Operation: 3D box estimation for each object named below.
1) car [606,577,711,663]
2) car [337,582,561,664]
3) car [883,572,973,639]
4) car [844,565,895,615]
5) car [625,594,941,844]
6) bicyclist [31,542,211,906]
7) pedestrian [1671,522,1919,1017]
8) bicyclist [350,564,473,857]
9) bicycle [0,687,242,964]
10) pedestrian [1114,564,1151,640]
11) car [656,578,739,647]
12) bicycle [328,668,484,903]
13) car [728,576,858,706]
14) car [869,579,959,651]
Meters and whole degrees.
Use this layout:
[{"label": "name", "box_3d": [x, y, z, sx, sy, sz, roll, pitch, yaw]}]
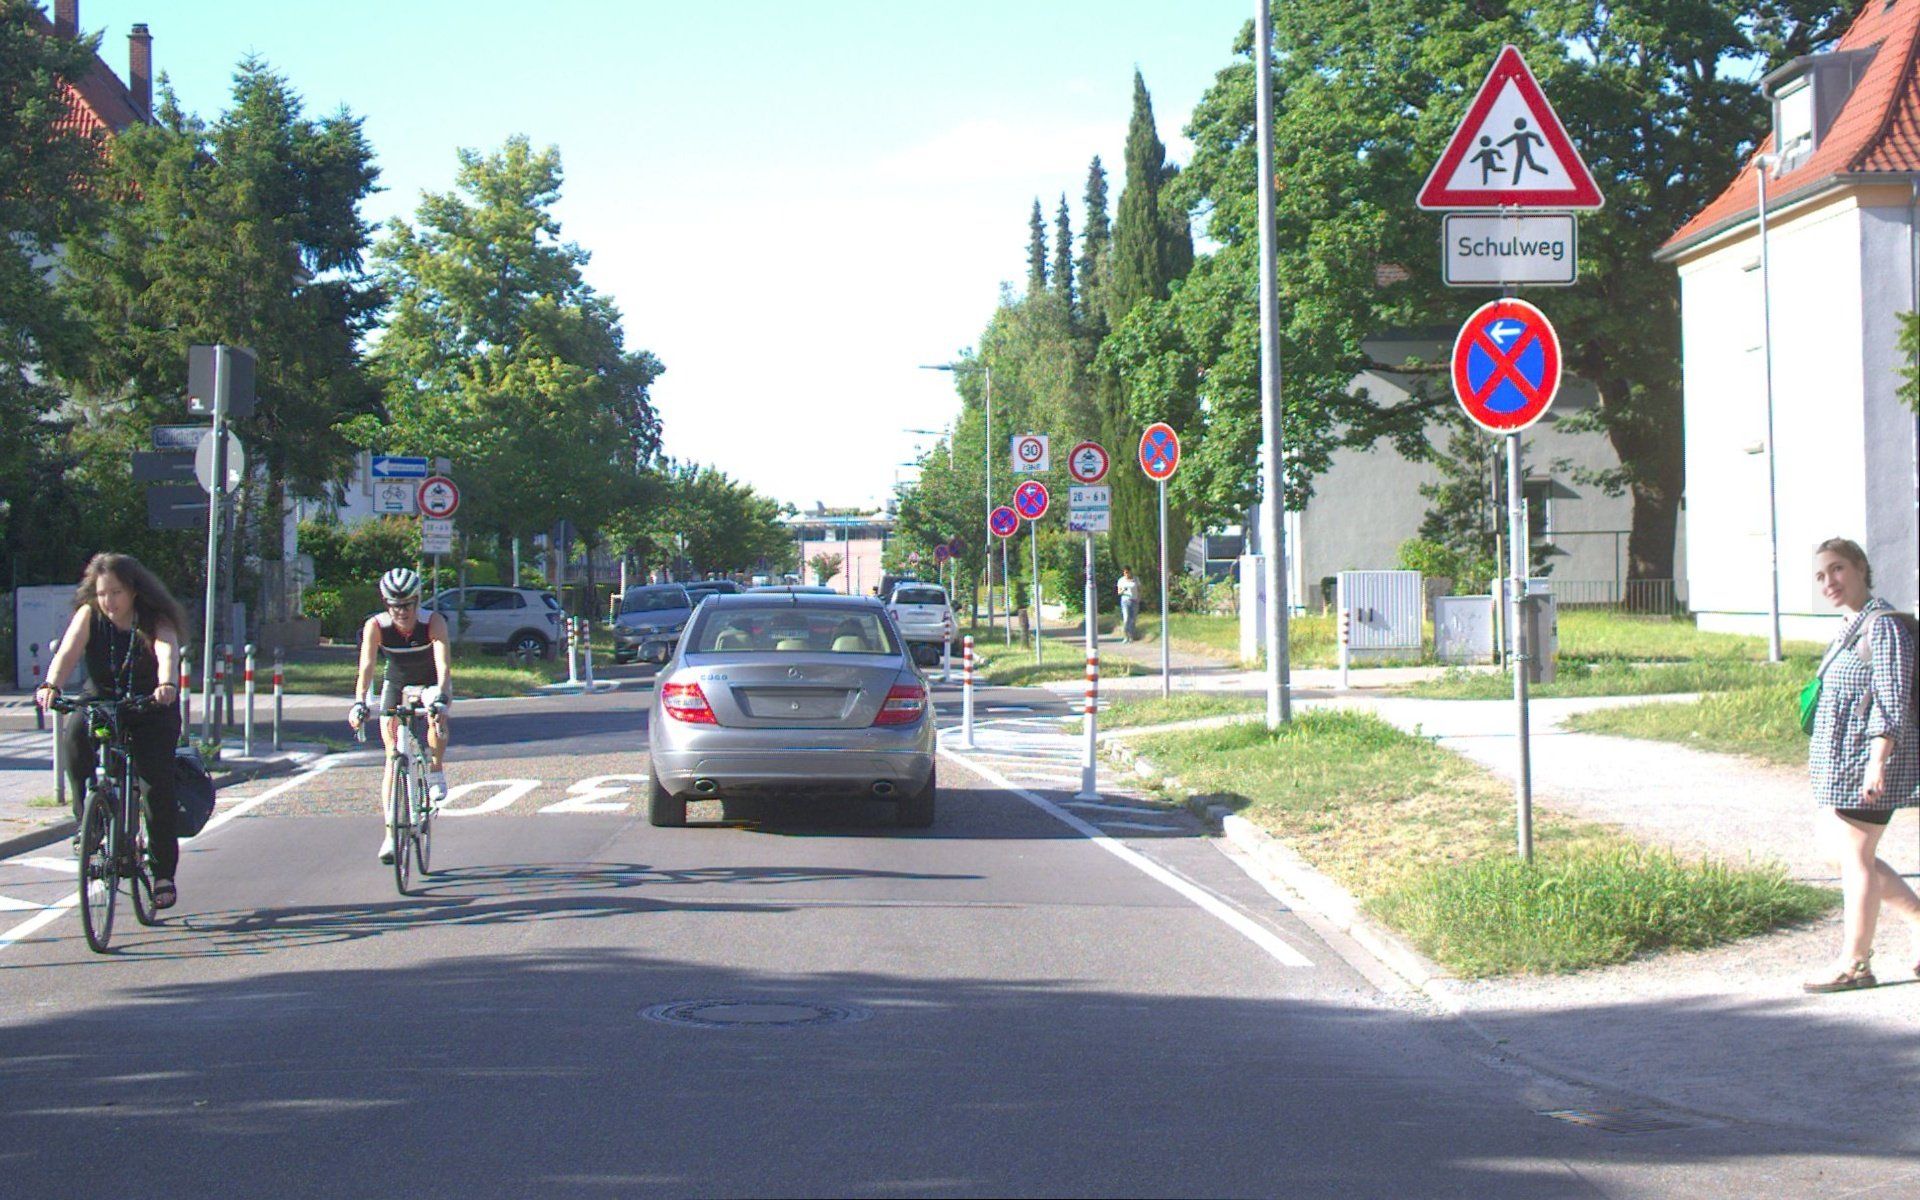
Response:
[{"label": "car", "box_3d": [-6.290, 0.384, 72.102, 1.993, 1.604, 4.001, -4, 1, -4]}, {"label": "car", "box_3d": [-9.898, 0.430, 66.803, 4.191, 1.558, 1.842, 0, 0, -4]}, {"label": "car", "box_3d": [-0.819, 0.119, 85.362, 1.993, 1.604, 4.001, -1, 0, -4]}, {"label": "car", "box_3d": [-3.447, -0.382, 130.406, 1.854, 1.835, 4.000, -1, 0, -2]}, {"label": "car", "box_3d": [-1.048, 0.689, 21.990, 1.836, 1.436, 4.000, 0, 0, -1]}, {"label": "bicyclist", "box_3d": [-3.819, 0.552, 15.683, 0.642, 1.614, 0.637, -1, 0, 0]}, {"label": "pedestrian", "box_3d": [3.417, 0.585, 12.710, 1.086, 1.668, 0.914, -6, 2, -18]}, {"label": "bicyclist", "box_3d": [-2.793, 0.553, 17.547, 0.496, 1.459, 0.687, -1, 0, 0]}, {"label": "bicycle", "box_3d": [-3.813, 0.985, 15.657, 0.642, 1.105, 2.065, -1, 0, 0]}, {"label": "pedestrian", "box_3d": [3.680, 0.046, 73.336, 0.766, 1.605, 0.834, -1, 0, 3]}, {"label": "car", "box_3d": [-6.848, 0.303, 89.906, 1.993, 1.604, 4.001, -4, 1, -4]}, {"label": "bicycle", "box_3d": [-2.790, 0.912, 17.443, 0.505, 1.085, 1.709, -1, 0, 0]}, {"label": "car", "box_3d": [-2.218, 0.501, 45.048, 1.597, 1.604, 3.644, -1, 1, -4]}, {"label": "car", "box_3d": [-1.024, 0.305, 74.494, 1.733, 1.475, 3.726, -1, 0, -4]}]
